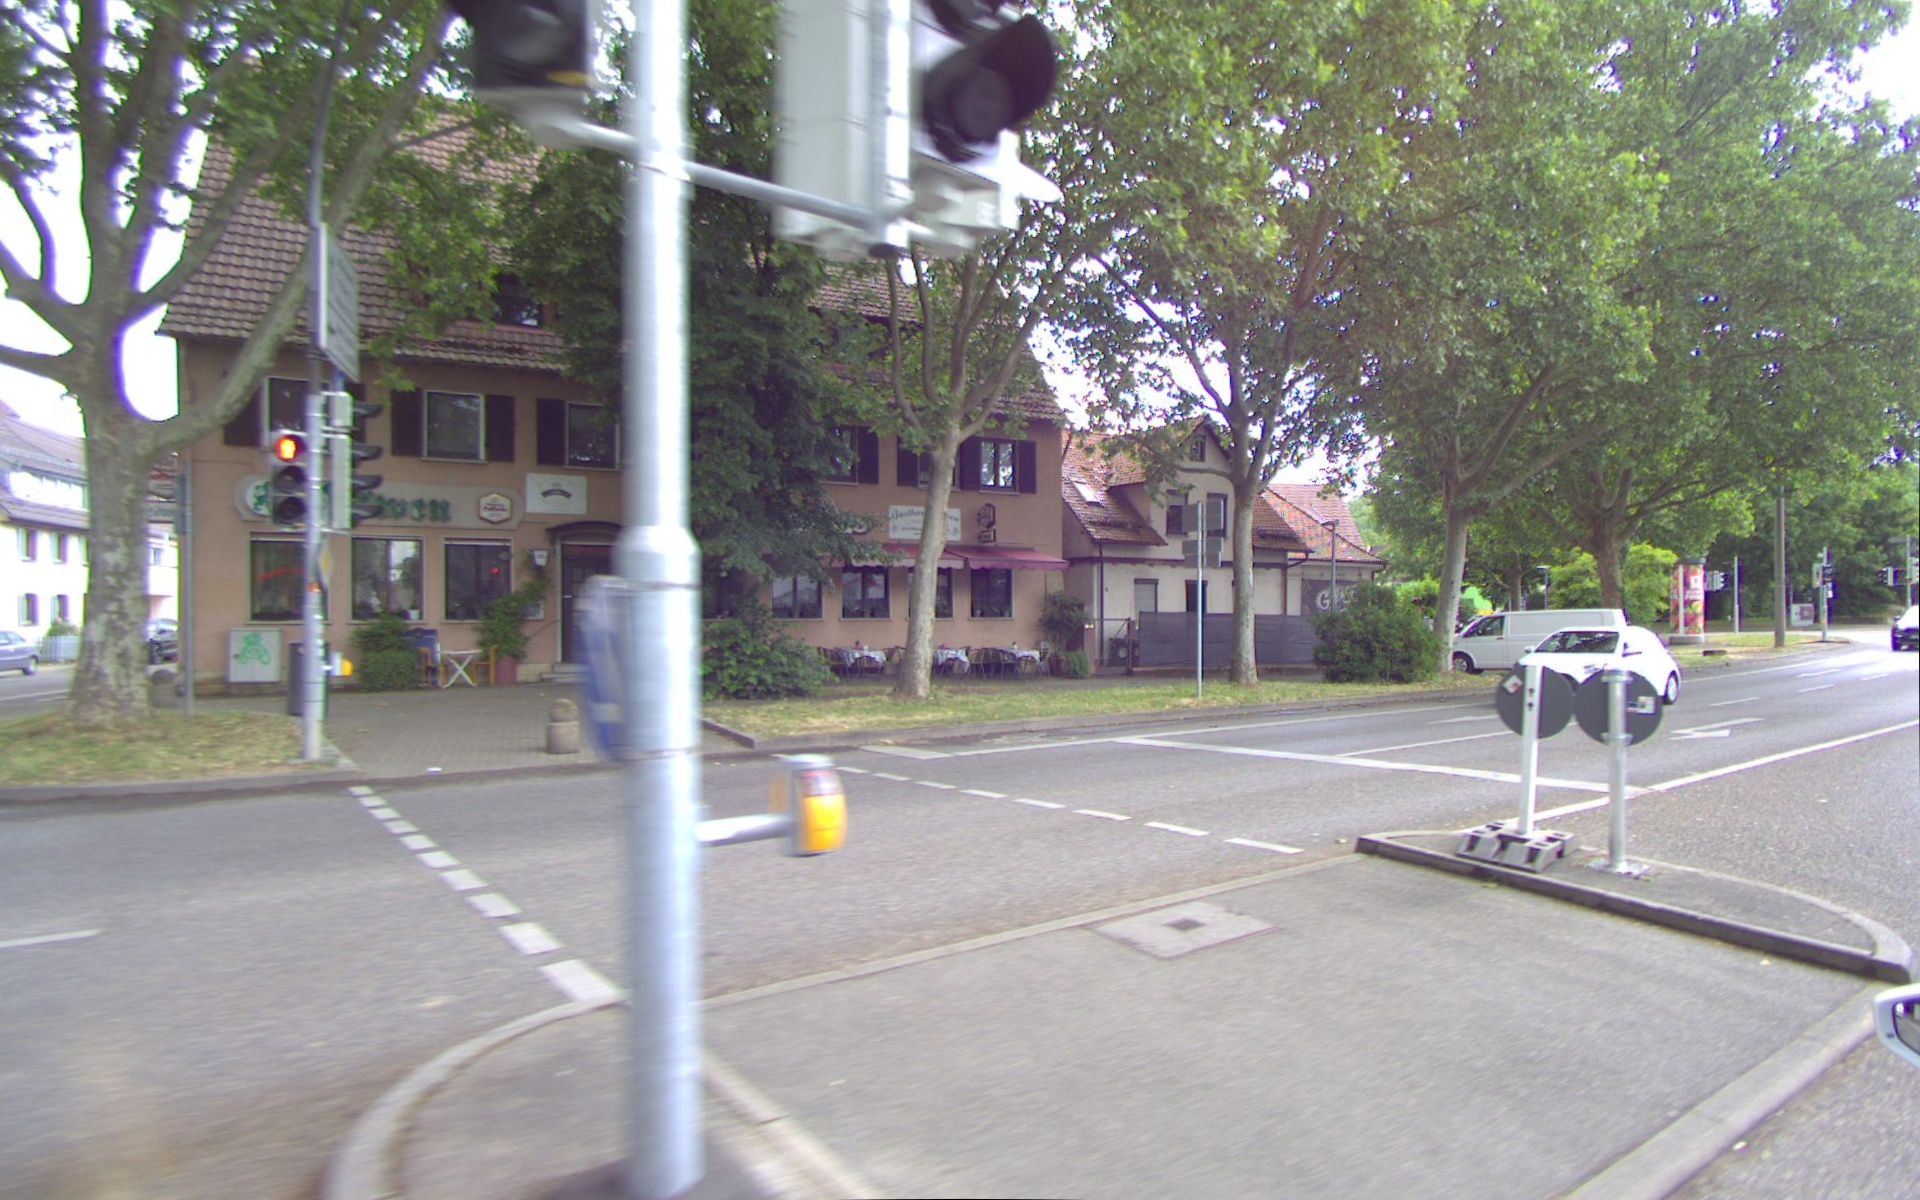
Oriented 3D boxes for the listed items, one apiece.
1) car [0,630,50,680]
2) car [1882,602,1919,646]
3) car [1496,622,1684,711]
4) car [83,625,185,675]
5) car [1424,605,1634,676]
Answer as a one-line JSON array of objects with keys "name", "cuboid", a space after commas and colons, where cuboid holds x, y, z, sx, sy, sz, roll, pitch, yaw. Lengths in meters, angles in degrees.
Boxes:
[{"name": "car", "cuboid": [-27.310, 1.522, 27.860, 1.686, 1.332, 3.848, 1, -1, -19]}, {"name": "car", "cuboid": [37.588, 0.886, 39.071, 4.375, 1.608, 1.783, -1, -2, -38]}, {"name": "car", "cuboid": [11.796, 1.177, 18.715, 3.987, 1.485, 1.749, 1, -2, -39]}, {"name": "car", "cuboid": [-30.687, 1.819, 37.426, 1.719, 1.706, 3.826, 0, -1, -20]}, {"name": "car", "cuboid": [17.025, 1.239, 30.242, 5.166, 1.956, 2.074, -3, -3, 41]}]
